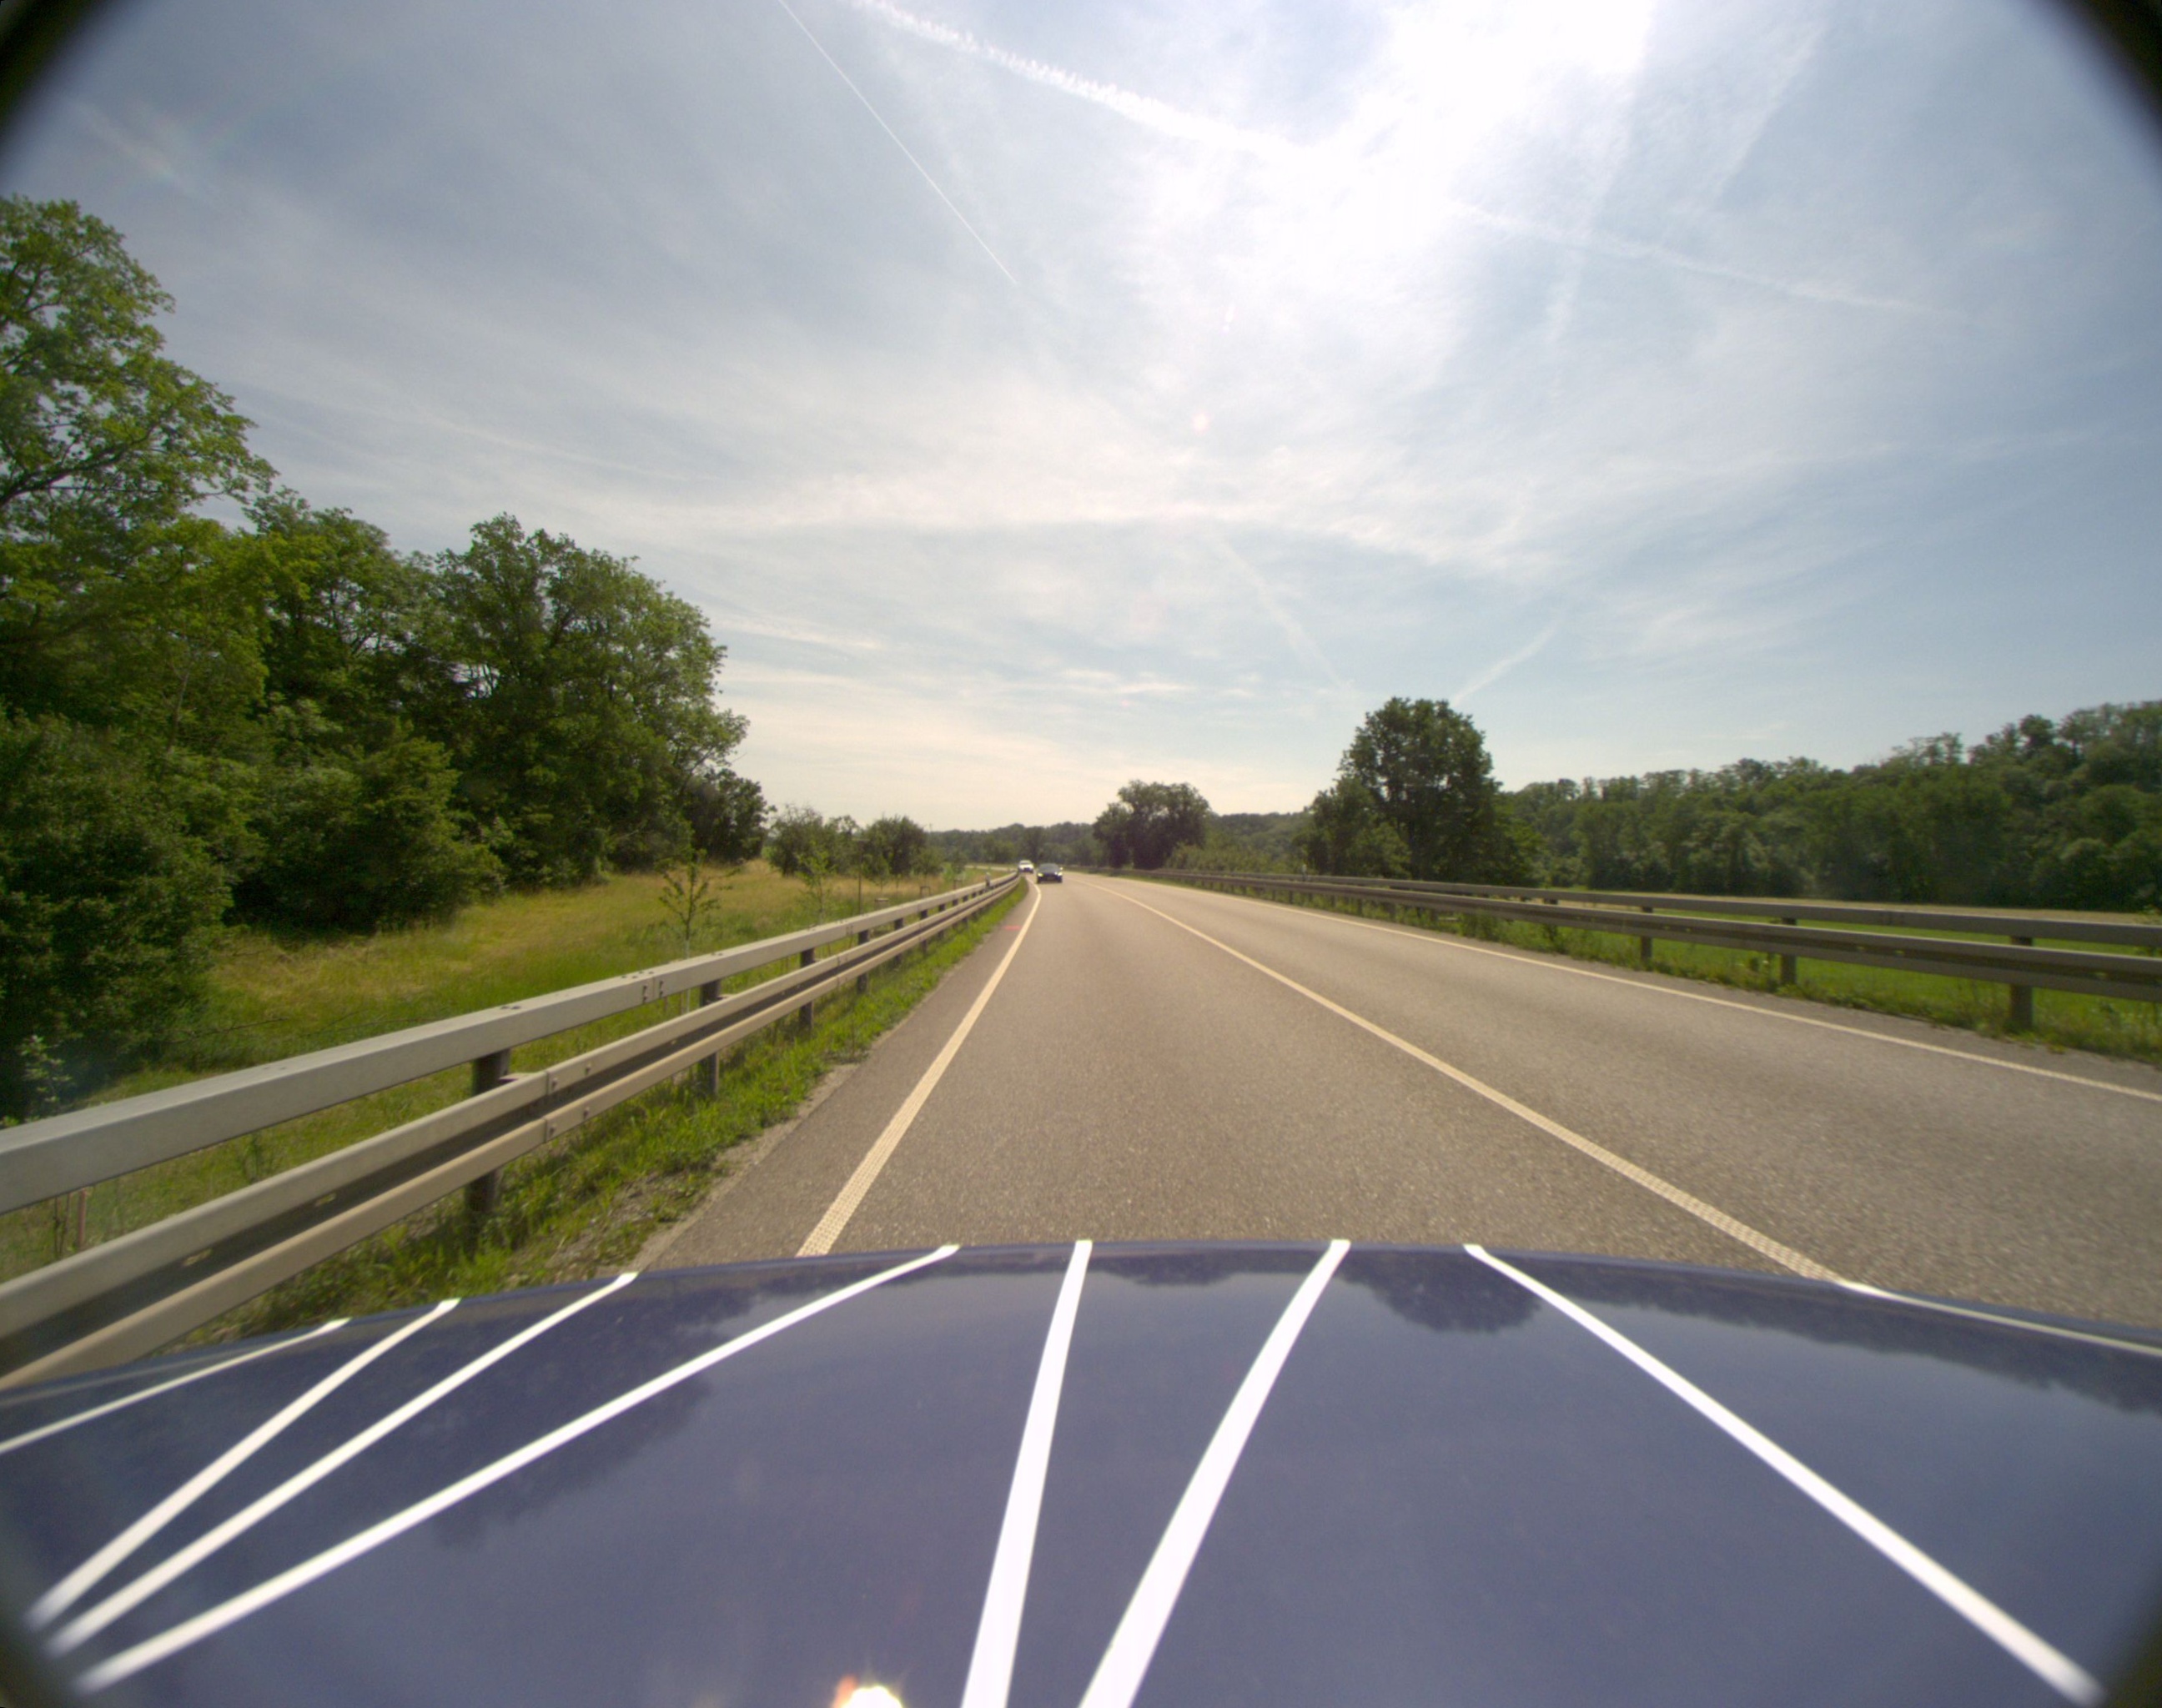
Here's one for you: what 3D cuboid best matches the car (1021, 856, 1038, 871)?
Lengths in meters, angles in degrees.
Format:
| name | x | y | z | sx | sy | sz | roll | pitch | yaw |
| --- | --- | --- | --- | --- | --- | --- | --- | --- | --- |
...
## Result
| name | x | y | z | sx | sy | sz | roll | pitch | yaw |
| --- | --- | --- | --- | --- | --- | --- | --- | --- | --- |
| car | -6.681 | 1.181 | 98.281 | 1.981 | 1.779 | 3.997 | -2 | 0 | -8 |

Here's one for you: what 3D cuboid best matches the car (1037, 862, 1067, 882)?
| name | x | y | z | sx | sy | sz | roll | pitch | yaw |
| --- | --- | --- | --- | --- | --- | --- | --- | --- | --- |
| car | -2.160 | 1.288 | 56.081 | 1.981 | 1.333 | 3.998 | -2 | 0 | -5 |
